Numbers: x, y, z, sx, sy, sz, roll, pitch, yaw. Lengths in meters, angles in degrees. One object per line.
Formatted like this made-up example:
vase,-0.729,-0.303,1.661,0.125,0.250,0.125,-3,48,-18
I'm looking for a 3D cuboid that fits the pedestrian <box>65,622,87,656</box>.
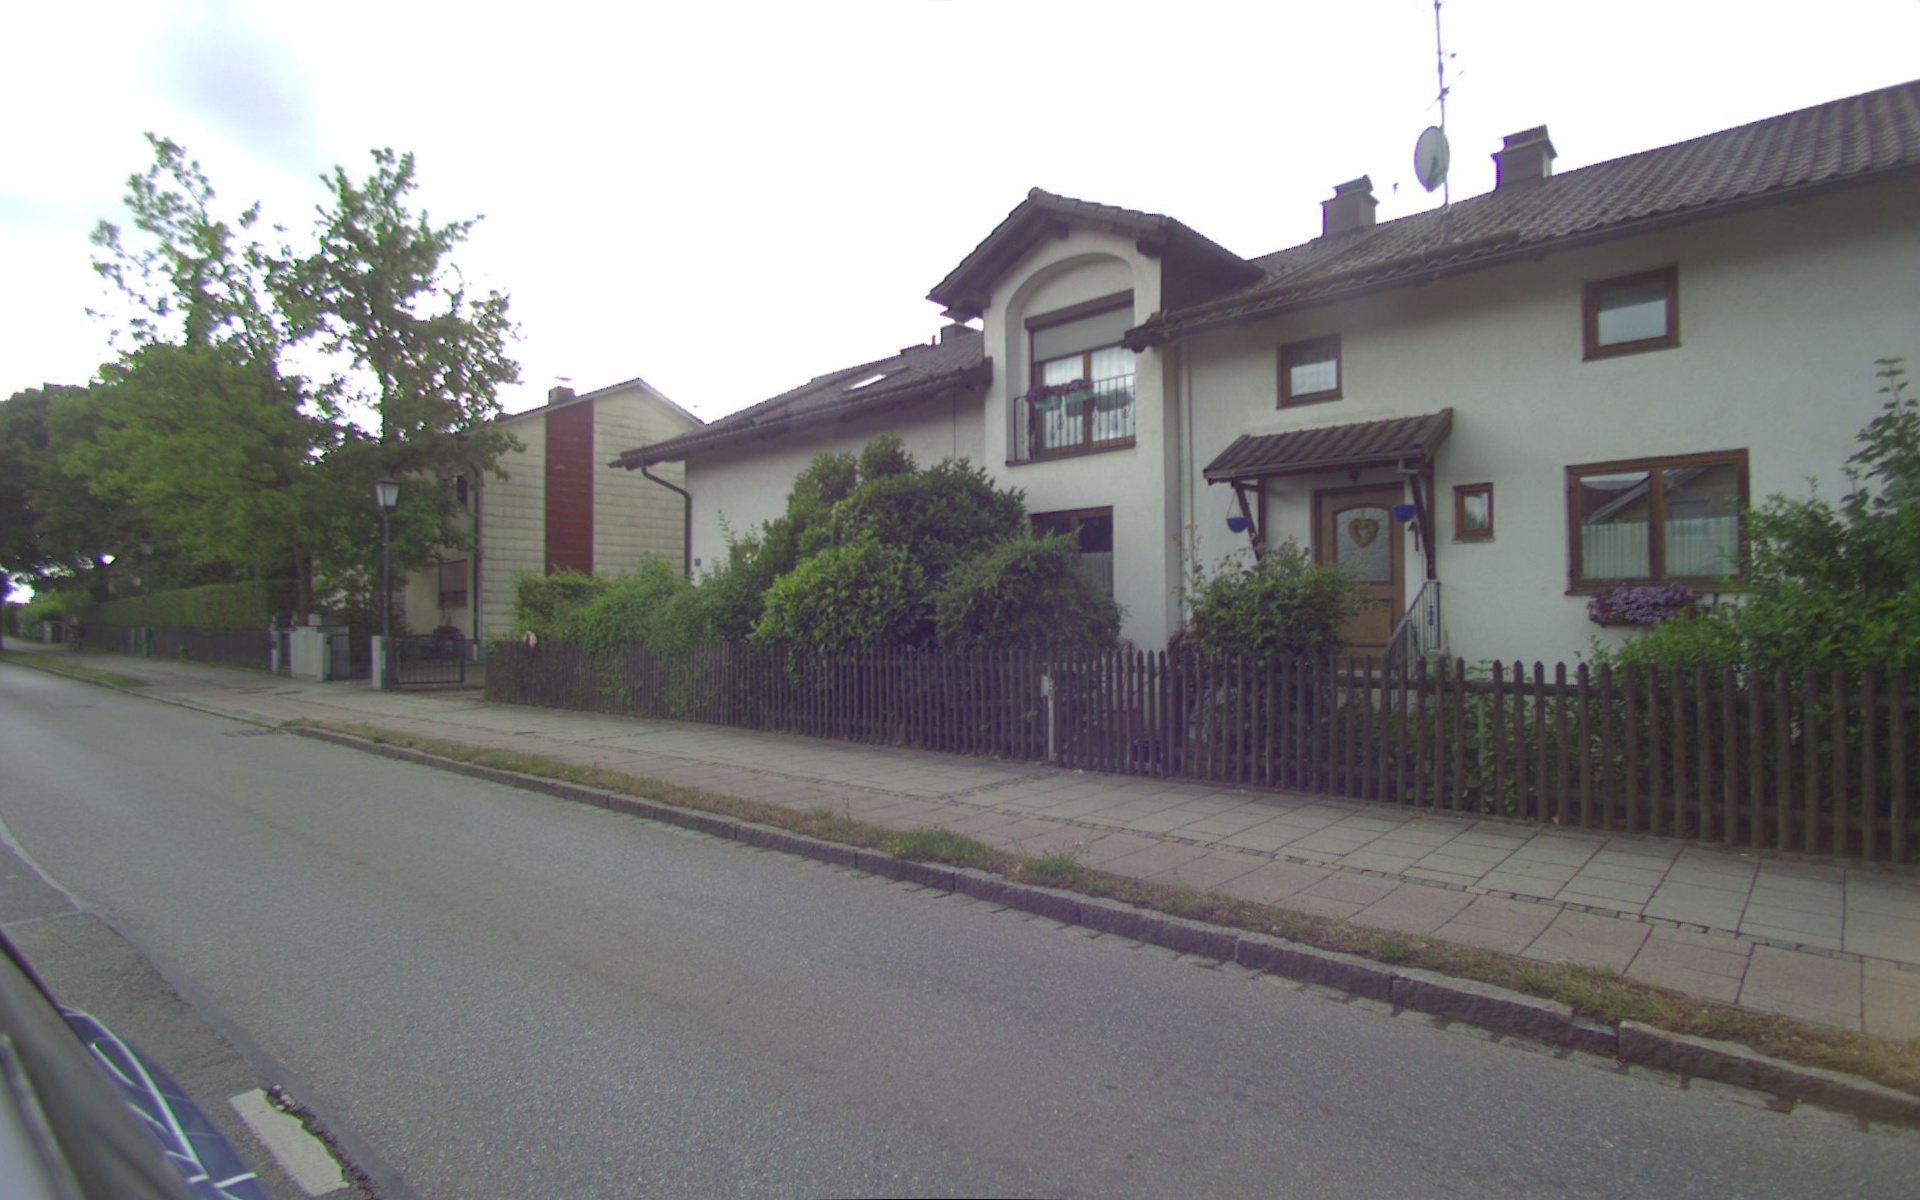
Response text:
pedestrian,-38.560,1.695,44.150,0.563,1.448,0.622,-1,-2,41
